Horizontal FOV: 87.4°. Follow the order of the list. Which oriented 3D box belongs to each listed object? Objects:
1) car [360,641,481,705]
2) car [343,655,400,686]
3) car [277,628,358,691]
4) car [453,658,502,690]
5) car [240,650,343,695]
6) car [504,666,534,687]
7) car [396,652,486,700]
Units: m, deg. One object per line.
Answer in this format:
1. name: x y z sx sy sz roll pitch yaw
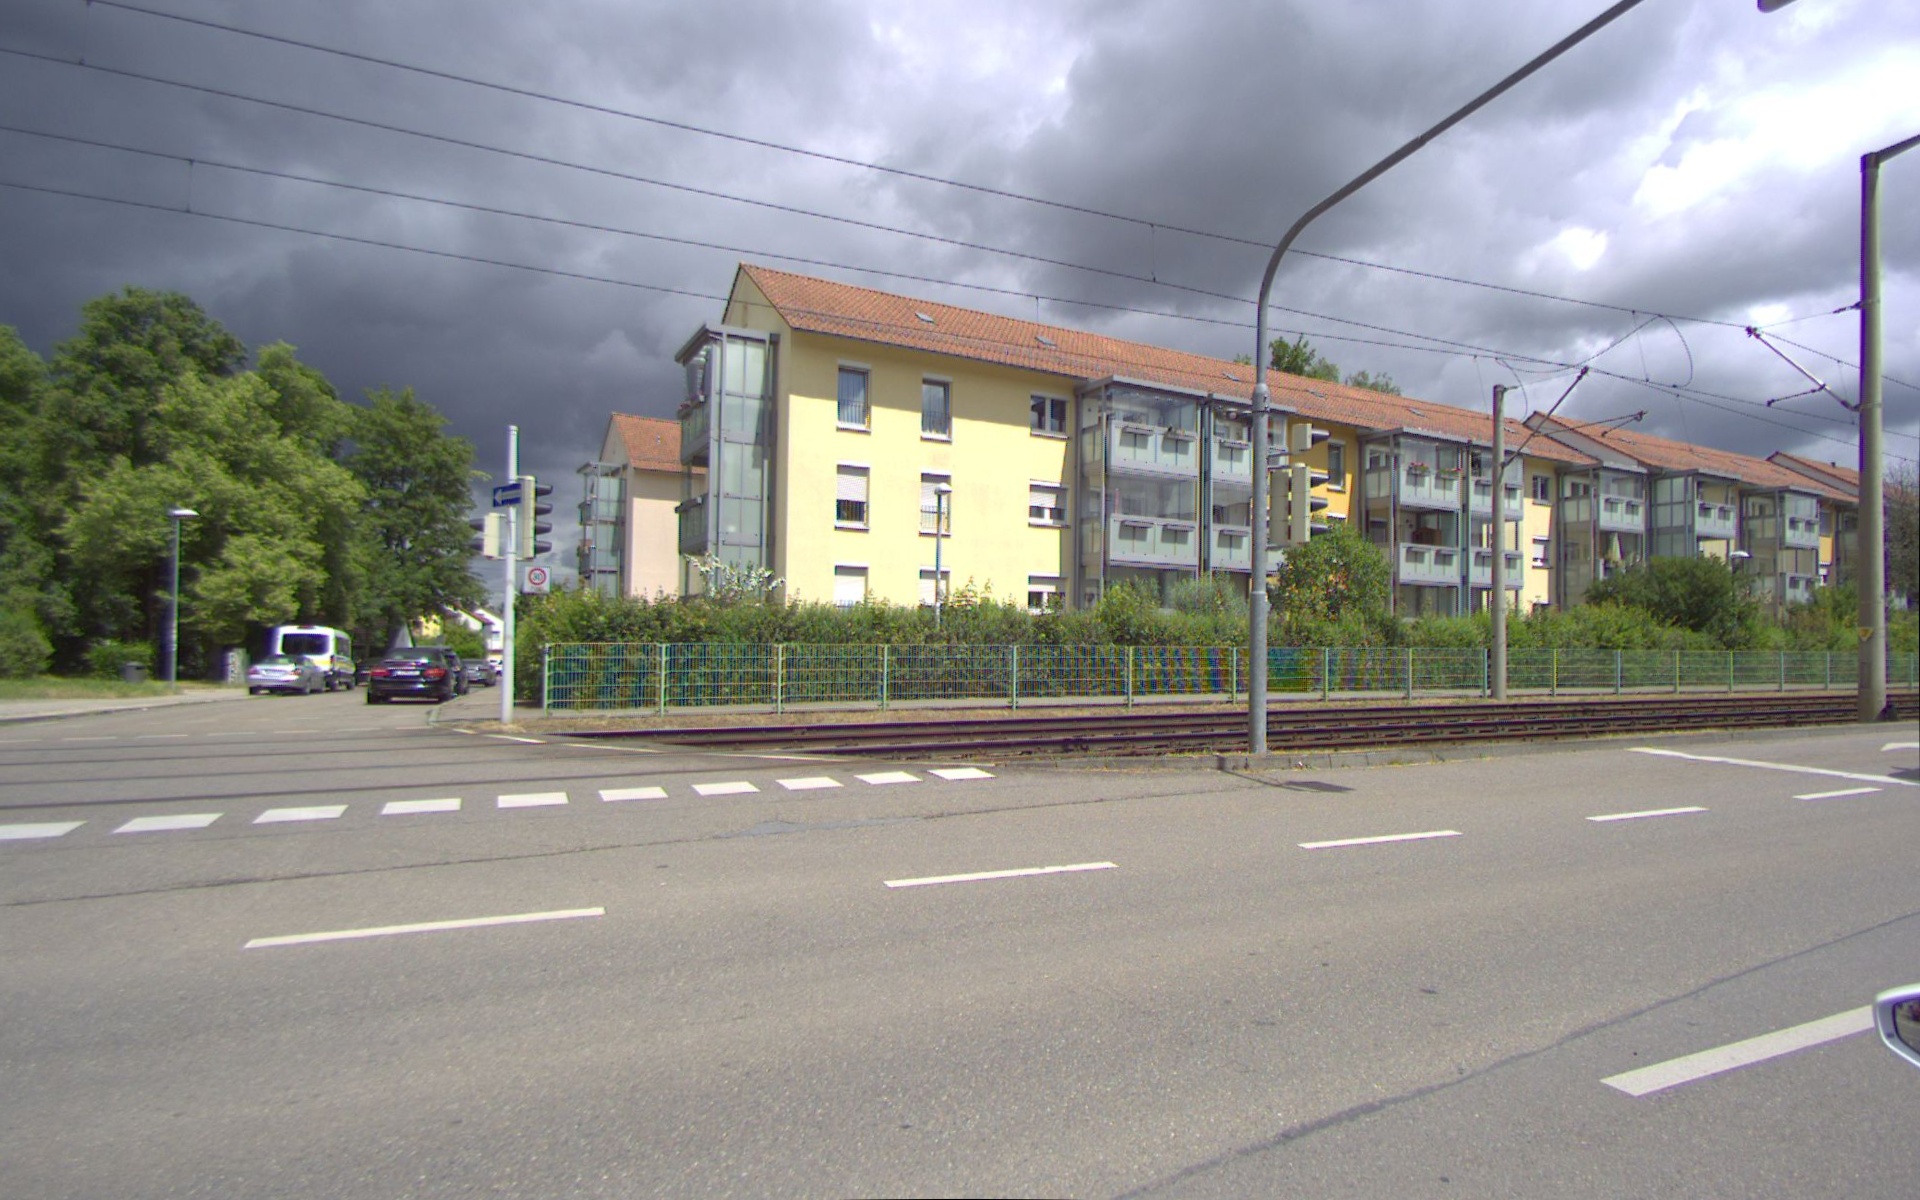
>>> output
1. car: -13.725 1.921 25.792 1.968 1.485 3.987 2 -6 -18
2. car: -30.557 3.718 52.244 1.972 1.485 3.981 2 -6 -23
3. car: -25.769 2.476 40.439 1.972 2.387 3.981 2 -6 -23
4. car: -24.497 3.801 51.113 1.972 1.485 3.981 2 -6 -23
5. car: -23.861 2.652 36.026 1.968 1.485 3.987 2 -6 -18
6. car: -32.914 5.765 75.073 1.972 1.485 3.980 2 -6 -23
7. car: -17.155 2.565 33.413 1.968 1.485 3.987 2 -6 -18
